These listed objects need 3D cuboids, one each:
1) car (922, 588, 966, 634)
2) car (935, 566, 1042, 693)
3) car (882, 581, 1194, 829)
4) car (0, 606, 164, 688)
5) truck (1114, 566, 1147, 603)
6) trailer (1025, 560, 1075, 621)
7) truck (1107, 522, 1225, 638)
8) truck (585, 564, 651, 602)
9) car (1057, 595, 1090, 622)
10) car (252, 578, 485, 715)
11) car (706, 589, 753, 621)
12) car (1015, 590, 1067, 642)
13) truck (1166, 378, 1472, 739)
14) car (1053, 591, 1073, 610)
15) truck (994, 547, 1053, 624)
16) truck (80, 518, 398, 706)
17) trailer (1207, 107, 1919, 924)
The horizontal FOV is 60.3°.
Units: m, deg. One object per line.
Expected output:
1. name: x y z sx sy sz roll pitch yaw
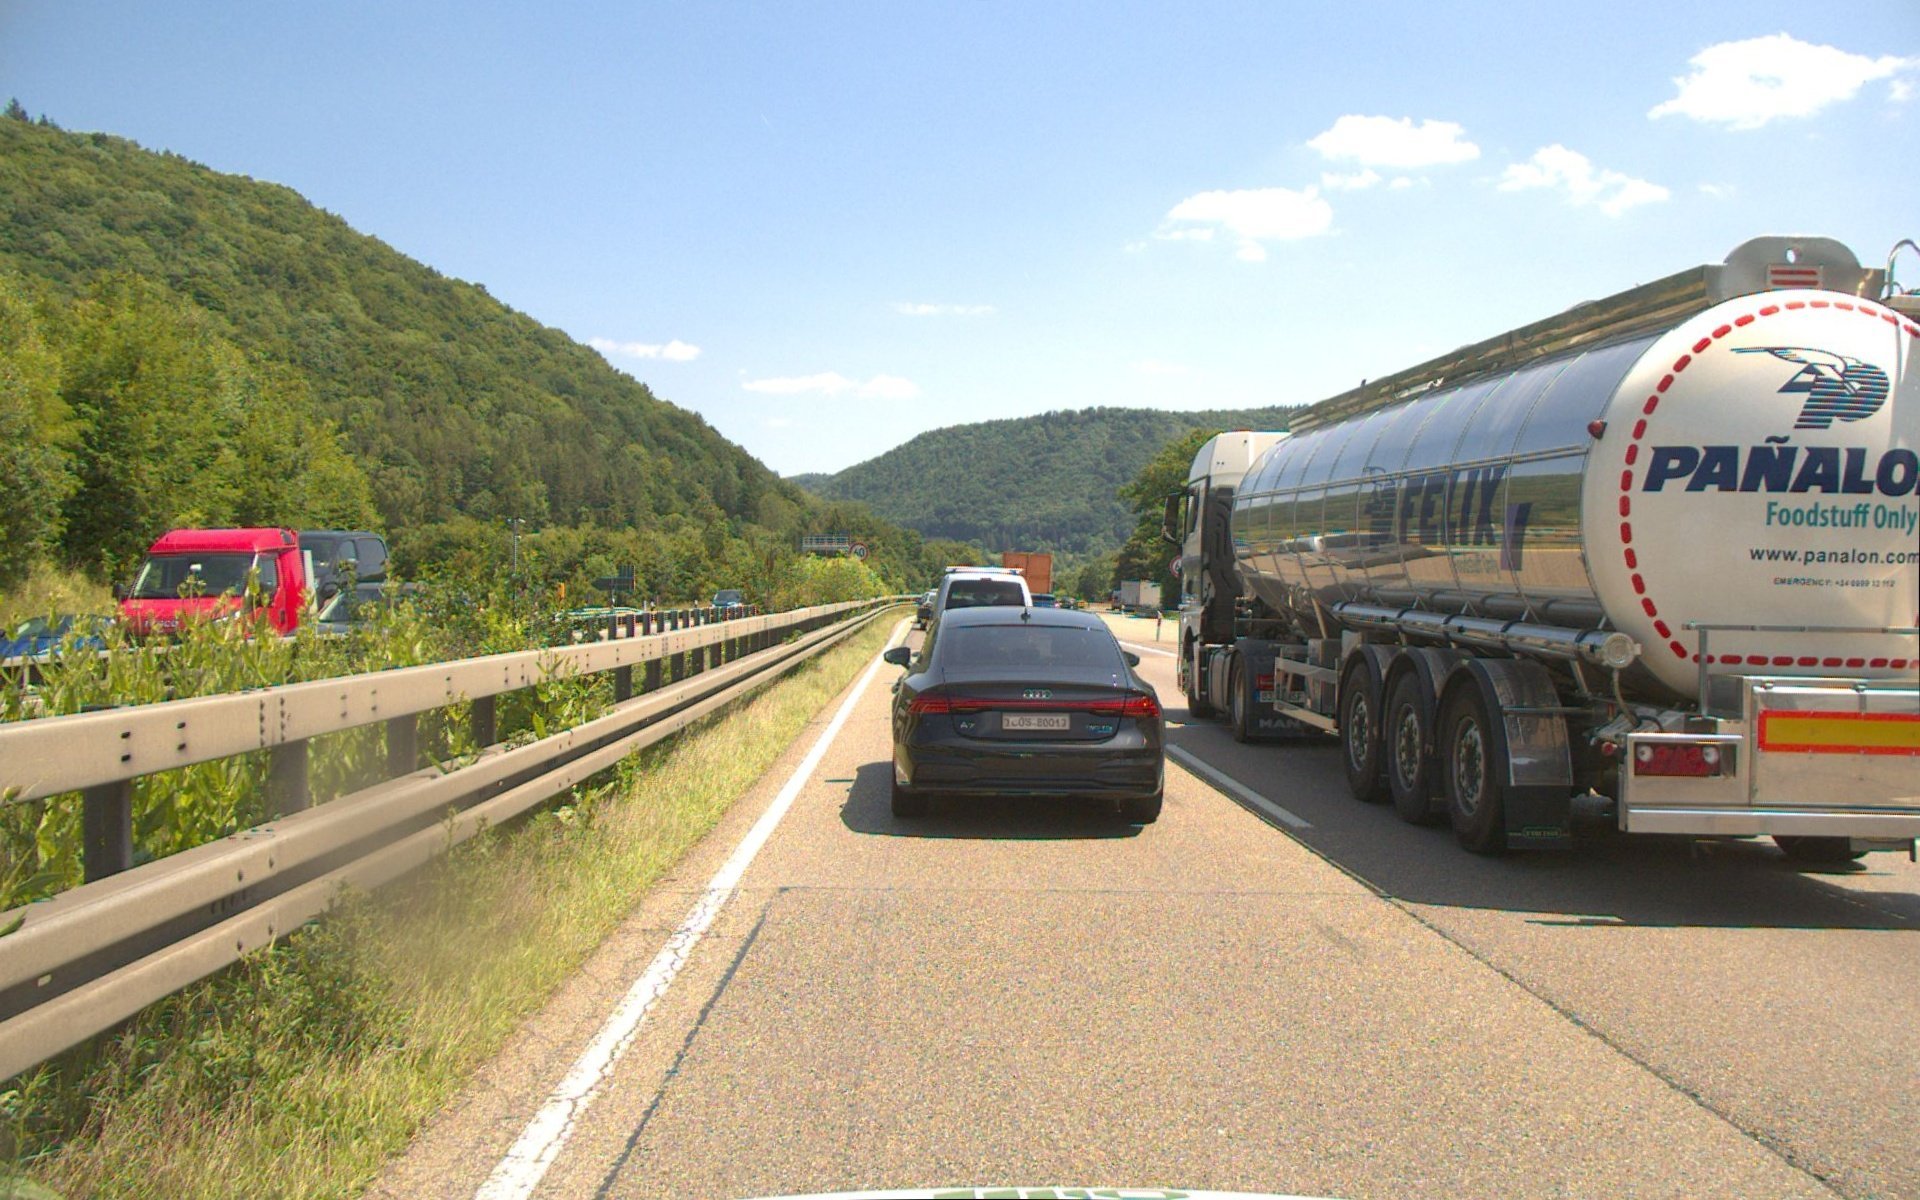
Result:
1. car: -0.750 0.496 75.728 1.953 2.049 3.999 0 0 -1
2. car: 0.395 0.424 26.370 1.544 1.865 3.999 1 0 -1
3. car: 0.394 0.641 12.218 1.813 1.514 4.079 1 0 -4
4. car: -16.720 0.829 30.758 1.953 1.379 4.105 0 0 -2
5. truck: 22.081 -1.949 213.474 3.713 4.491 14.967 1 0 8
6. trailer: 6.787 -0.722 126.417 2.954 4.458 10.982 1 0 -1
7. truck: 7.996 -0.748 66.335 2.760 4.073 14.954 1 0 0
8. truck: -25.927 -1.258 125.747 3.509 2.742 8.444 0 0 -2
9. car: 6.611 0.473 96.657 1.711 1.557 4.000 0 0 1
10. car: -7.604 0.539 21.670 1.741 1.627 3.998 0 0 -2
11. car: -12.070 0.244 86.816 1.883 1.649 4.560 0 0 -1
12. car: 3.258 0.634 67.327 1.953 2.037 4.000 0 0 0
13. truck: 4.169 -0.458 20.305 2.461 3.824 5.244 1 0 -2
14. car: 11.630 0.053 187.064 1.953 2.049 3.999 0 0 -1
15. truck: 3.569 -0.819 96.081 2.760 4.073 14.954 1 0 0
16. truck: -11.536 0.147 27.368 2.251 2.633 7.961 1 0 -4
17. trailer: 4.341 -0.421 13.696 2.487 3.801 11.888 1 0 -2
